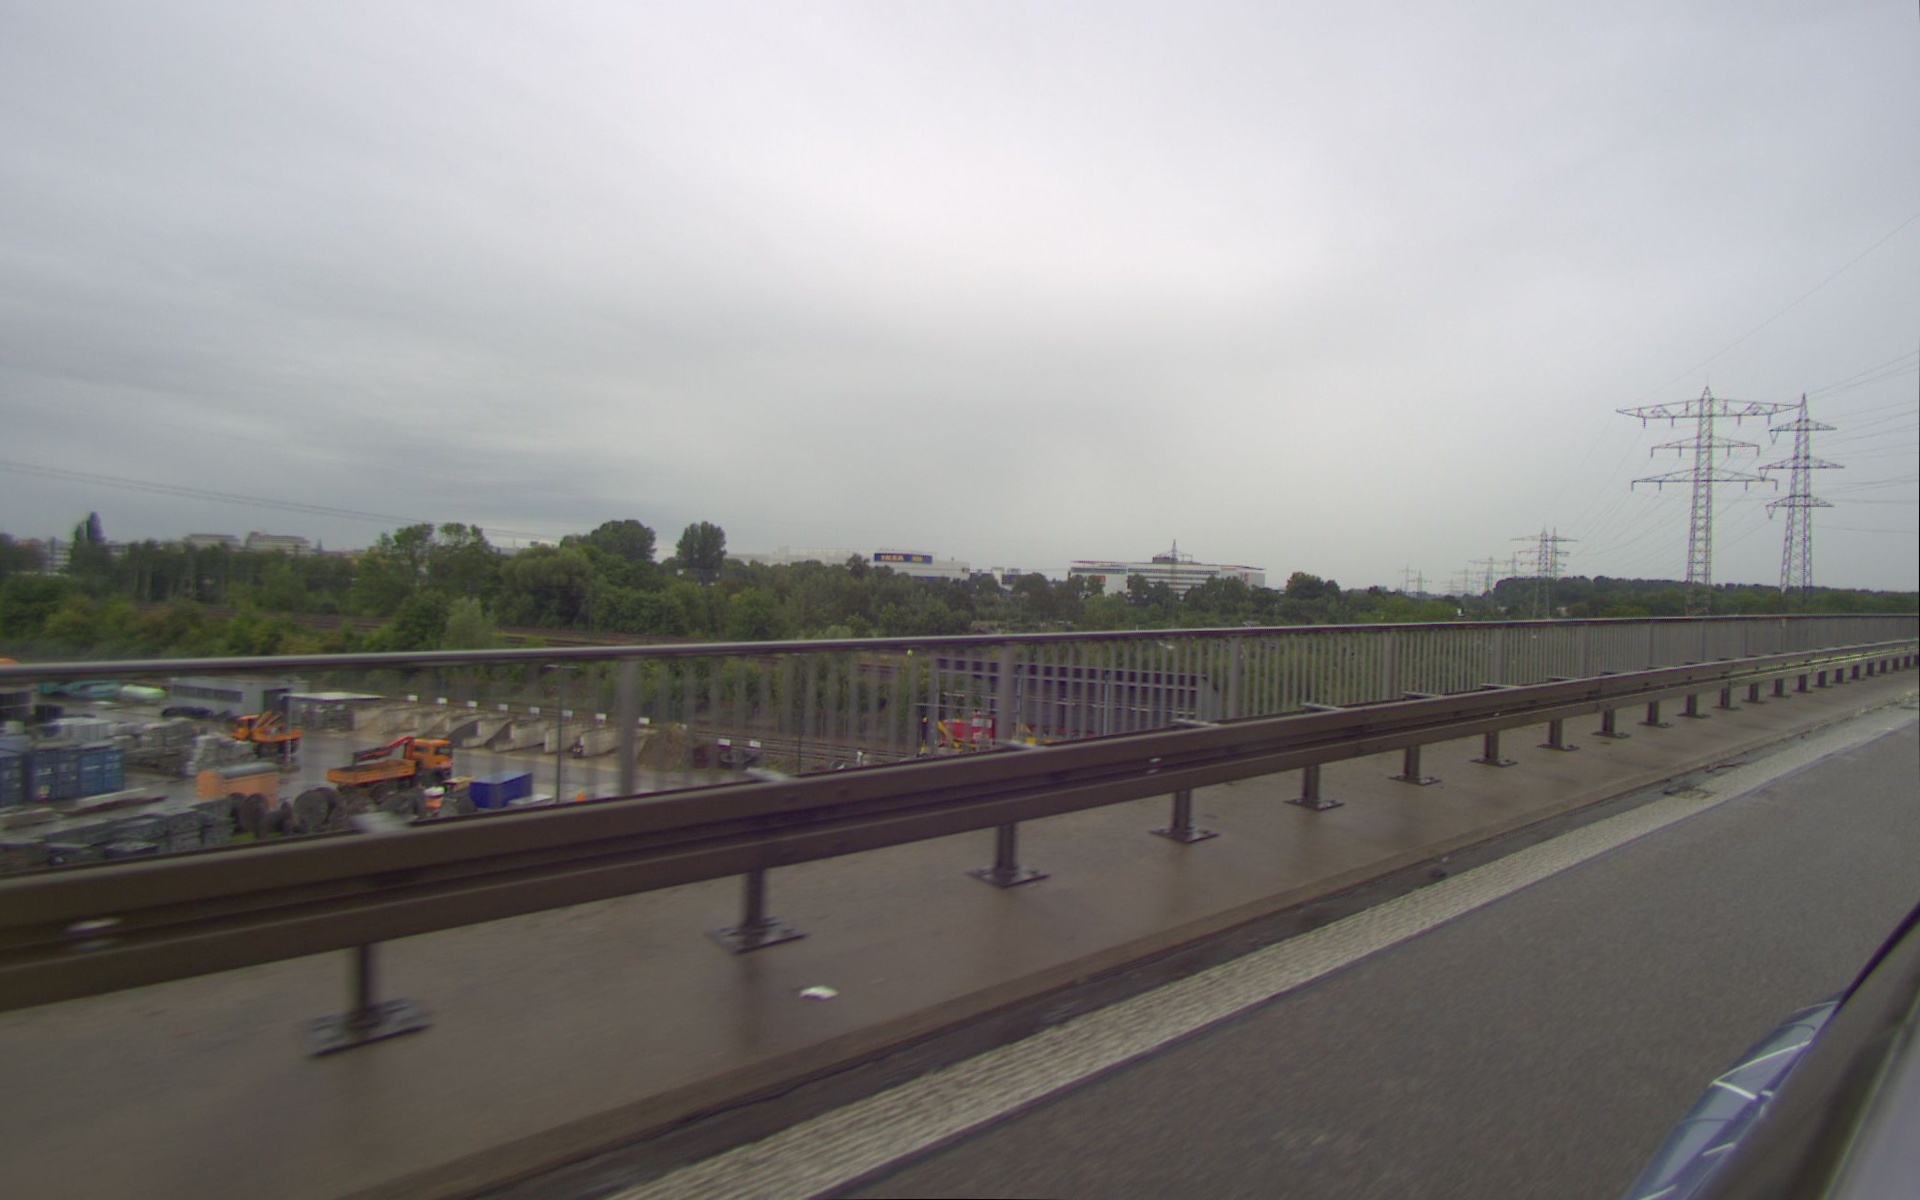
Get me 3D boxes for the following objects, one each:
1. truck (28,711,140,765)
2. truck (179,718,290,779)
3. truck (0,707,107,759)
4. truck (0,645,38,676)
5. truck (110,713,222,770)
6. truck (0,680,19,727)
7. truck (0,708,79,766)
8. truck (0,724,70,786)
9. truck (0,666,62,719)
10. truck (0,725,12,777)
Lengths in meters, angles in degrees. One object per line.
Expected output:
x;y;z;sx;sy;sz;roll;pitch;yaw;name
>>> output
-68.190;10.643;78.996;2.076;3.224;6.553;0;0;17;truck
-51.497;10.458;72.017;2.076;3.224;6.553;0;0;17;truck
-72.130;10.487;80.497;2.076;3.224;6.553;0;0;17;truck
-106.413;6.772;112.230;2.067;3.224;6.581;0;0;4;truck
-58.474;10.340;74.743;2.076;3.224;6.553;0;0;17;truck
-82.726;8.841;84.042;2.076;3.858;6.553;0;0;17;truck
-74.991;10.989;81.085;2.076;3.858;6.553;0;0;17;truck
-59.914;9.820;63.096;2.076;3.224;6.553;0;0;17;truck
-77.314;7.571;82.157;2.076;3.858;6.553;0;0;17;truck
-64.245;9.901;63.685;2.076;3.224;6.553;0;0;17;truck
